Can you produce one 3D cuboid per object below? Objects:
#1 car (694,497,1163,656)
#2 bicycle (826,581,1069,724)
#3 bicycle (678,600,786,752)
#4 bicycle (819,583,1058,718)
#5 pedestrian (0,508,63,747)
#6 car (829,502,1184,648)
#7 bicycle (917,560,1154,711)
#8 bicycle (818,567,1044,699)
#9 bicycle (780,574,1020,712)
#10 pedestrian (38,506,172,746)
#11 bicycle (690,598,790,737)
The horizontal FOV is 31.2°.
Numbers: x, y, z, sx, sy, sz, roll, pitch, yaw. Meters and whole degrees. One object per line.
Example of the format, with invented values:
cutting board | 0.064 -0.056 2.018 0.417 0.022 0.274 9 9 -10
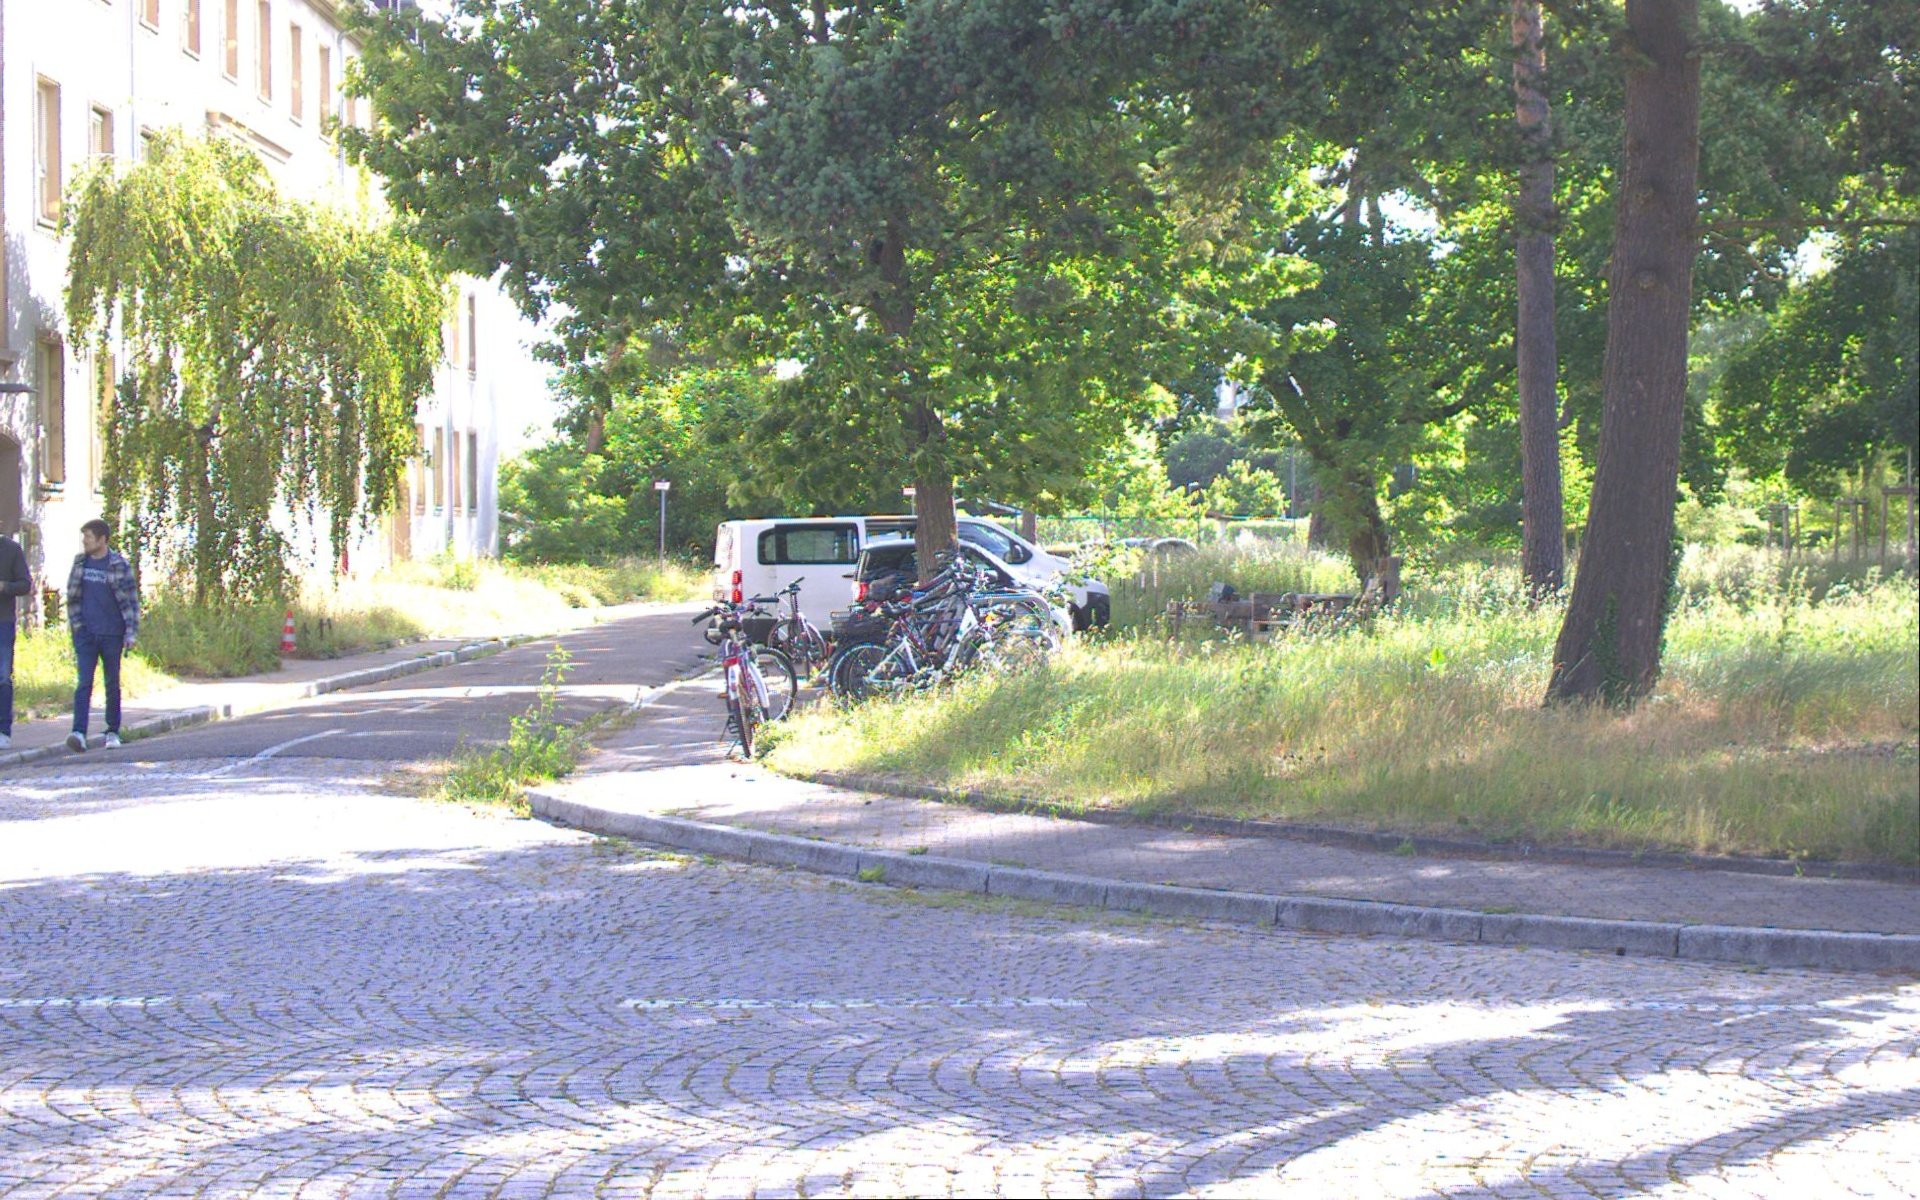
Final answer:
car | -0.471 -0.333 45.270 5.929 2.007 2.476 0 1 -7
bicycle | -0.112 0.417 27.996 1.940 1.125 0.750 0 1 -3
bicycle | -1.558 0.504 23.717 0.695 0.968 1.861 0 1 -2
bicycle | -0.180 0.390 27.194 1.854 1.027 0.750 0 1 -3
pedestrian | -7.389 0.201 26.353 0.812 1.811 0.555 0 1 11
car | 0.517 -0.312 40.933 3.986 1.678 1.848 0 1 -8
bicycle | 0.627 0.289 28.684 1.940 1.231 0.485 0 1 -3
bicycle | -0.263 0.284 30.305 1.940 1.125 0.648 0 1 -5
bicycle | -0.506 0.350 29.203 1.940 1.125 0.648 -1 1 -27
pedestrian | -6.550 0.187 26.360 0.767 1.811 0.682 0 1 11
bicycle | -1.630 0.486 25.668 0.695 0.968 1.861 0 1 -2
